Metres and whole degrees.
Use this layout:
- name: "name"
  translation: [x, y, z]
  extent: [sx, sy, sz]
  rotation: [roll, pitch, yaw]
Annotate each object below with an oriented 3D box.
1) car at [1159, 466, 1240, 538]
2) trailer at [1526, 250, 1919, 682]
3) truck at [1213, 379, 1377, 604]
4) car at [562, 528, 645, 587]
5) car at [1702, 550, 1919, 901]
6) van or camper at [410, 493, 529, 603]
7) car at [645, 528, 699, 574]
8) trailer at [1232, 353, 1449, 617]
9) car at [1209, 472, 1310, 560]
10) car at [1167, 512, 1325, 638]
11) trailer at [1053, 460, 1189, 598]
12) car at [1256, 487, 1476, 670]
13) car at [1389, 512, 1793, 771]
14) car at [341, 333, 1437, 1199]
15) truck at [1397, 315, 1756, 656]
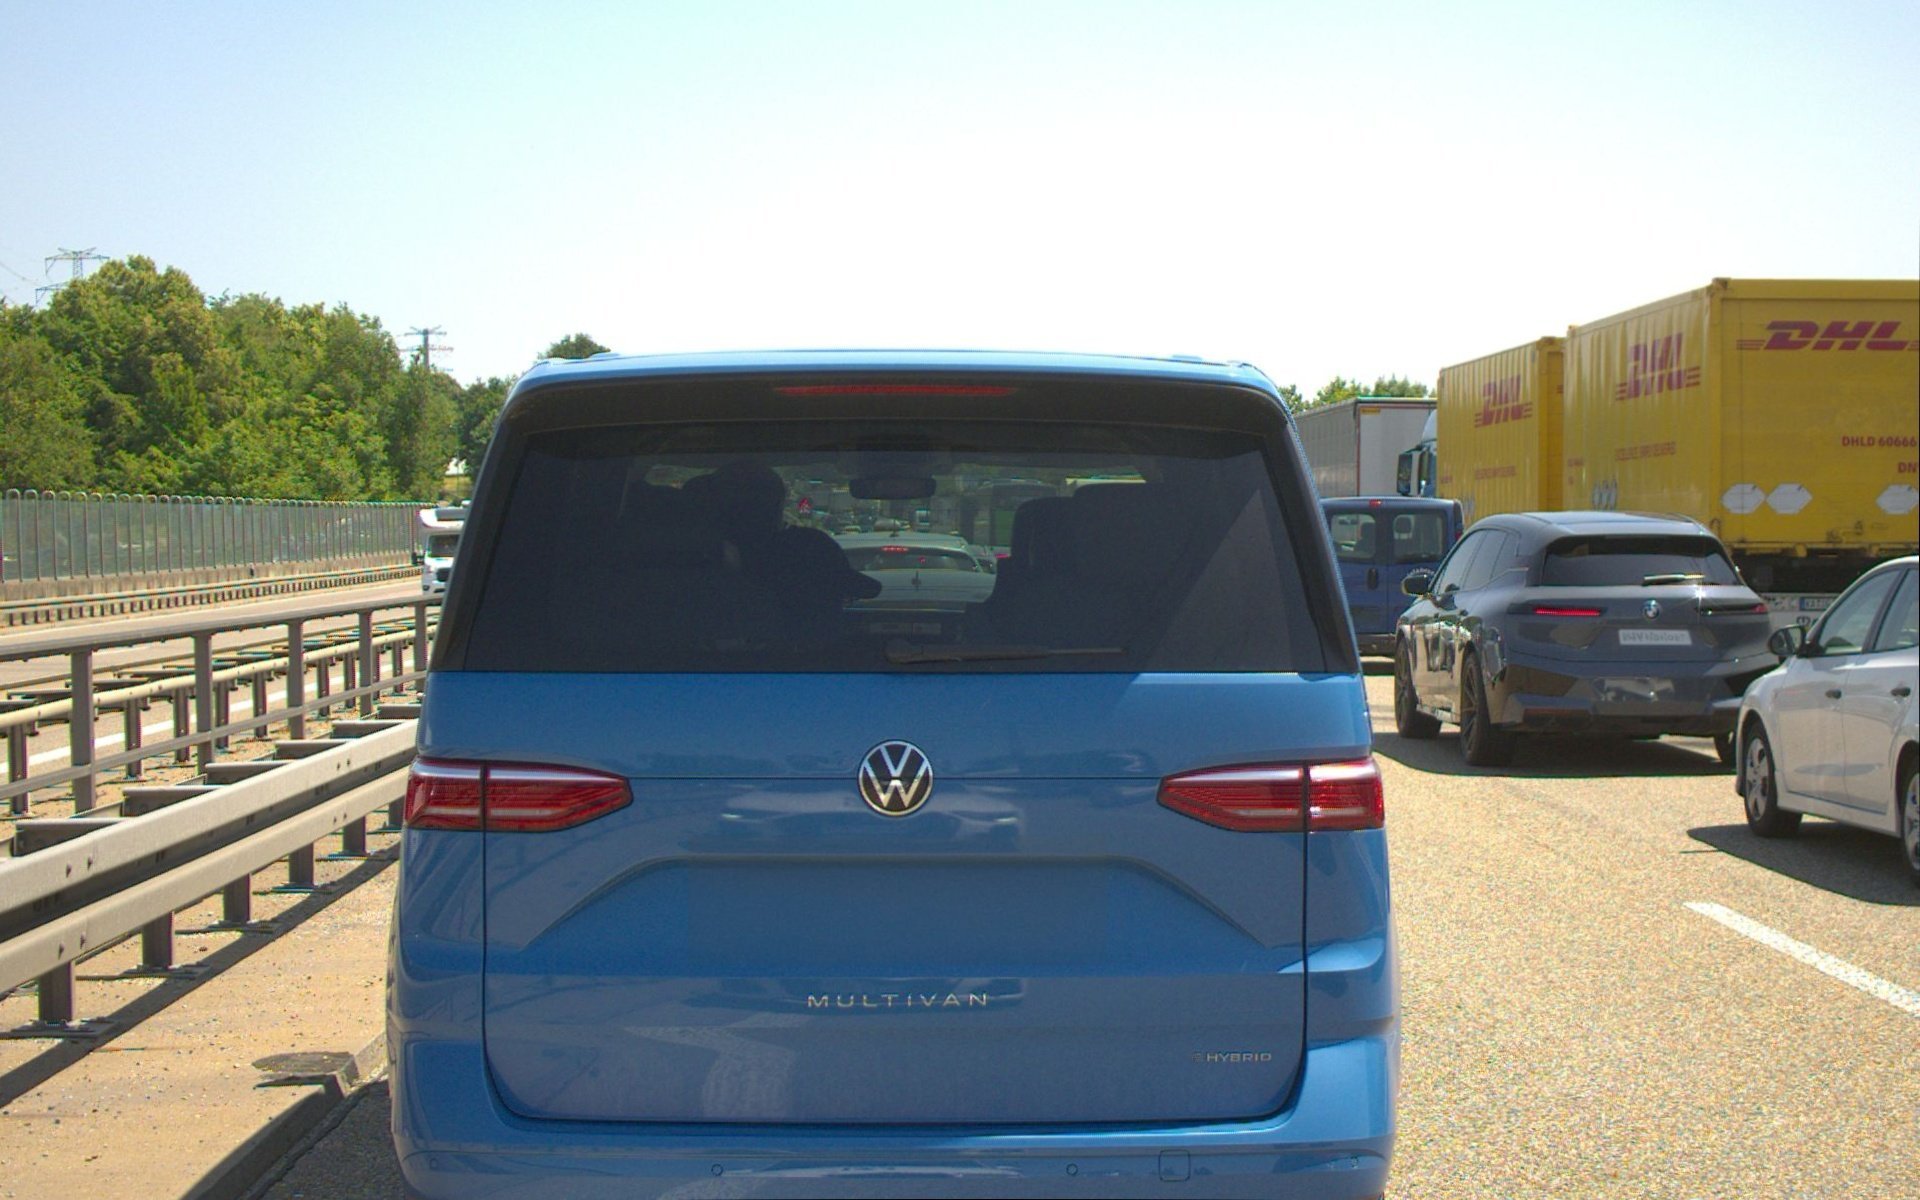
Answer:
- name: "car"
  translation: [6.895, -2.819, 99.344]
  extent: [1.993, 2.007, 4.461]
  rotation: [-1, 1, 0]
- name: "trailer"
  translation: [8.578, -1.372, 38.412]
  extent: [2.864, 4.224, 9.012]
  rotation: [1, 1, -1]
- name: "truck"
  translation: [6.957, -2.208, 72.255]
  extent: [2.667, 4.469, 6.850]
  rotation: [1, 1, 0]
- name: "car"
  translation: [-10.272, -1.247, 99.350]
  extent: [1.867, 1.526, 4.425]
  rotation: [-4, 1, 0]
- name: "car"
  translation: [4.882, 0.498, 16.196]
  extent: [1.788, 1.450, 4.293]
  rotation: [0, 1, -1]
- name: "van or camper"
  translation: [-14.279, -1.528, 100.556]
  extent: [2.422, 3.013, 7.027]
  rotation: [-2, 1, 0]
- name: "car"
  translation: [-11.666, -2.005, 139.433]
  extent: [1.867, 1.694, 4.431]
  rotation: [-3, 2, -1]
- name: "trailer"
  translation: [7.000, -2.091, 64.879]
  extent: [2.637, 4.501, 11.302]
  rotation: [1, 1, -1]
- name: "car"
  translation: [7.101, -1.968, 81.776]
  extent: [1.993, 2.007, 4.000]
  rotation: [1, 1, -1]
- name: "car"
  translation: [4.243, -0.399, 51.584]
  extent: [1.993, 1.809, 4.000]
  rotation: [0, 1, -1]
- name: "trailer"
  translation: [3.662, -1.621, 80.484]
  extent: [2.569, 2.980, 10.663]
  rotation: [1, 1, 0]
- name: "car"
  translation: [4.593, -0.276, 39.454]
  extent: [1.962, 1.986, 4.293]
  rotation: [0, 1, -1]
- name: "car"
  translation: [4.260, 0.223, 23.898]
  extent: [1.962, 1.639, 4.293]
  rotation: [0, 1, -1]
- name: "car"
  translation: [-0.141, 0.460, 7.806]
  extent: [1.820, 1.851, 4.075]
  rotation: [1, 1, -1]
- name: "truck"
  translation: [8.398, -1.517, 48.441]
  extent: [2.836, 4.228, 11.011]
  rotation: [1, 1, -1]
